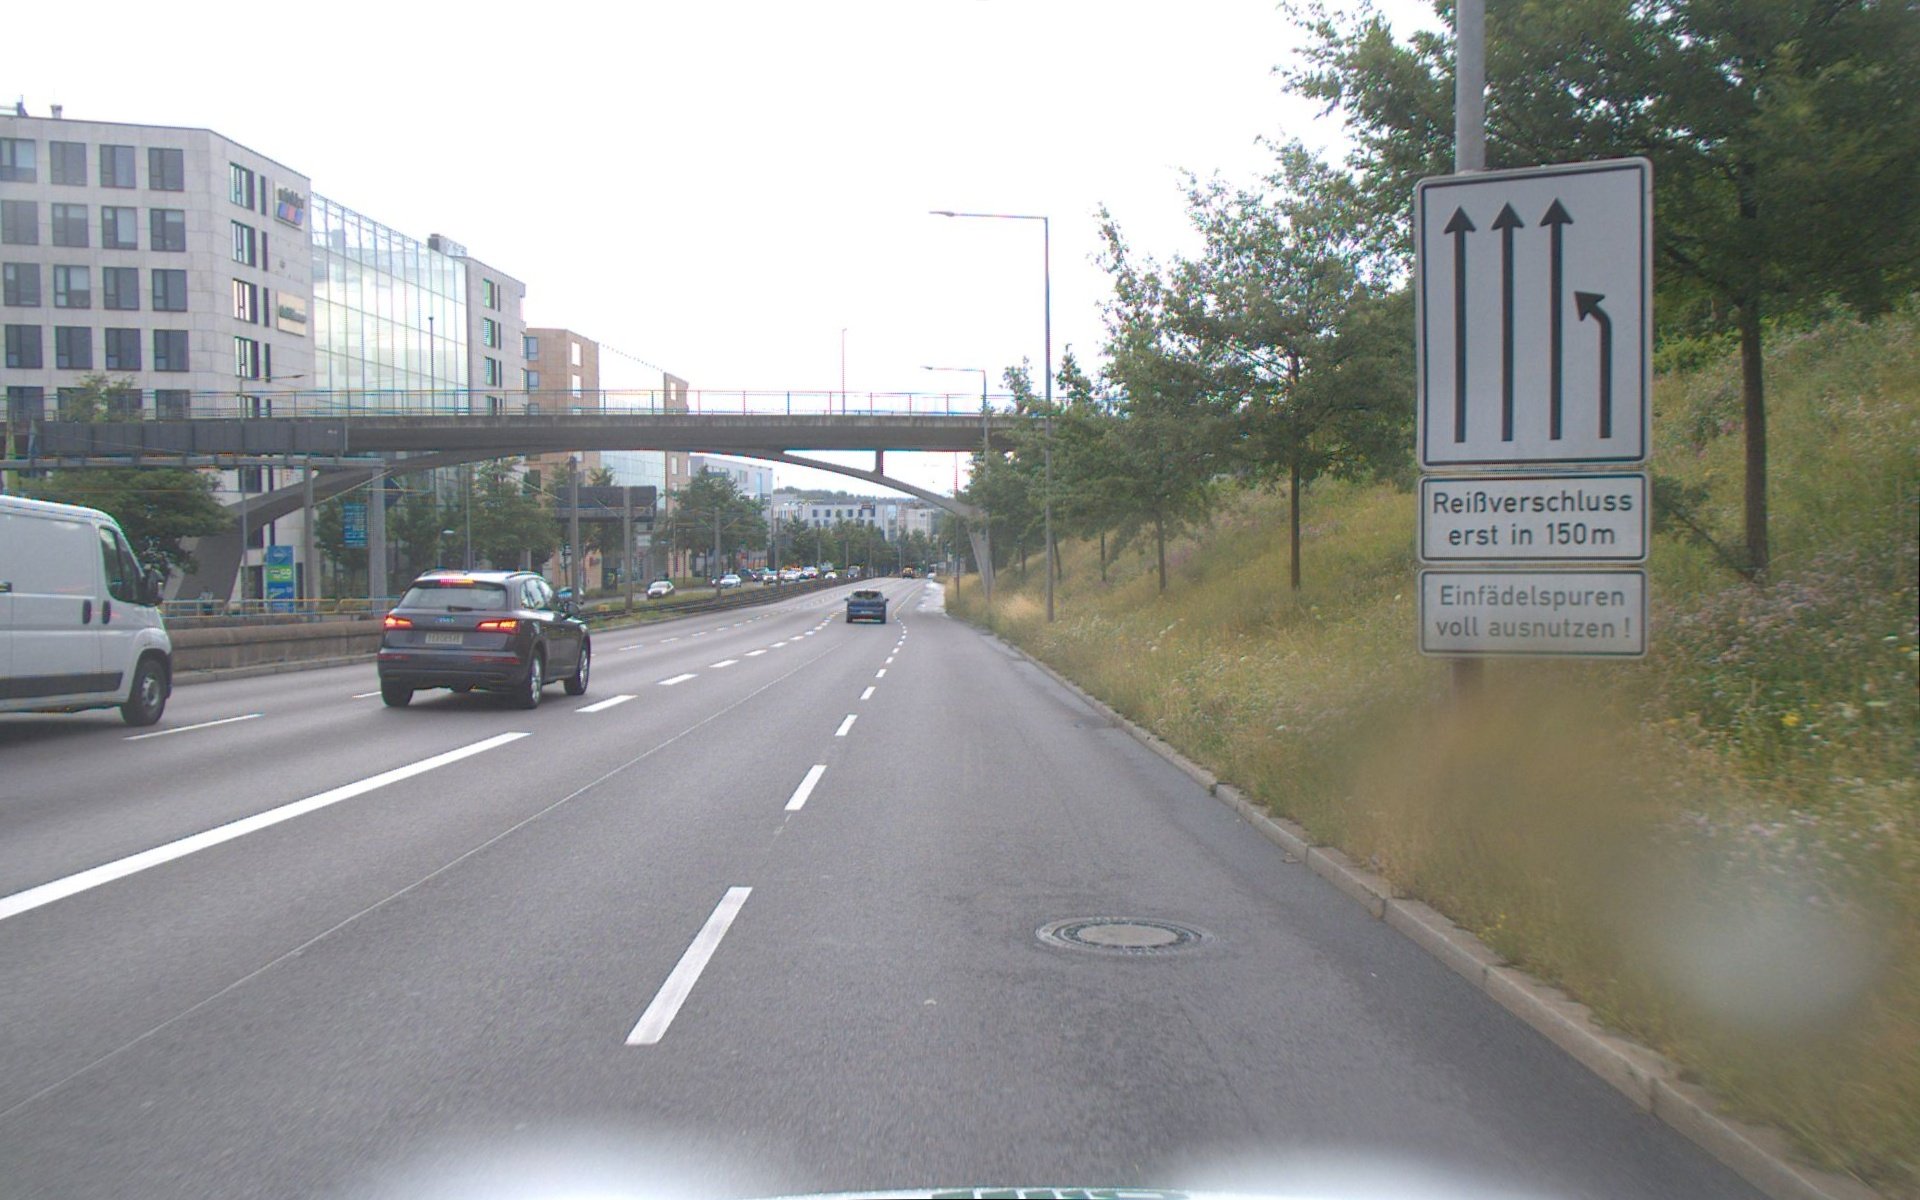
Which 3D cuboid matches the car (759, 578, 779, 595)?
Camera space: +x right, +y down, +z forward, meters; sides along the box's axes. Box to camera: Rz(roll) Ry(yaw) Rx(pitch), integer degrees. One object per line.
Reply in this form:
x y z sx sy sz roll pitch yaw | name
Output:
-22.826 -1.600 197.597 1.952 2.049 4.000 0 0 0 | car

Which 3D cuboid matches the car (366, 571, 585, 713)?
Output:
-6.155 0.484 21.560 1.716 1.645 4.745 0 0 -4 | car

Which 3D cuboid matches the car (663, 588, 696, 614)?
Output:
-21.454 0.085 126.670 1.954 1.735 3.999 1 3 -3 | car

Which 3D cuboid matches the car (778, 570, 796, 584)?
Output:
-24.534 -3.276 234.503 1.953 1.765 4.249 2 3 0 | car

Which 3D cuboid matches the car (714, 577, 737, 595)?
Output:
-26.736 -1.638 188.765 1.953 1.765 4.249 2 3 0 | car

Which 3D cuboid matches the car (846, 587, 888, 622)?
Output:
-4.091 0.188 72.998 1.713 1.445 3.477 0 1 -1 | car

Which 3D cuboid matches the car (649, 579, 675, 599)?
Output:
-31.091 -1.102 172.828 1.952 2.049 4.000 0 0 0 | car

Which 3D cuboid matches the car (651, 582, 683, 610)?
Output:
-23.767 -0.366 134.380 1.953 2.048 4.000 2 3 -2 | car

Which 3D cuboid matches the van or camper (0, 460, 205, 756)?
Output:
-9.167 0.060 15.089 2.159 2.481 5.529 0 0 -2 | van or camper

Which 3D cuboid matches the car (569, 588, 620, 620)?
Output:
-17.274 0.180 78.272 1.713 1.445 3.477 0 0 -1 | car

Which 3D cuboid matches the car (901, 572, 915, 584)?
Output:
-8.124 -3.440 258.430 1.826 1.780 3.998 1 3 -5 | car

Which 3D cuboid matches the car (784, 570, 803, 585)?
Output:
-22.014 -3.007 218.744 1.953 1.765 4.249 2 3 0 | car

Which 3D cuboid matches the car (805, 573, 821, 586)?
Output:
-21.424 -2.996 241.443 1.953 1.765 4.249 2 3 0 | car
